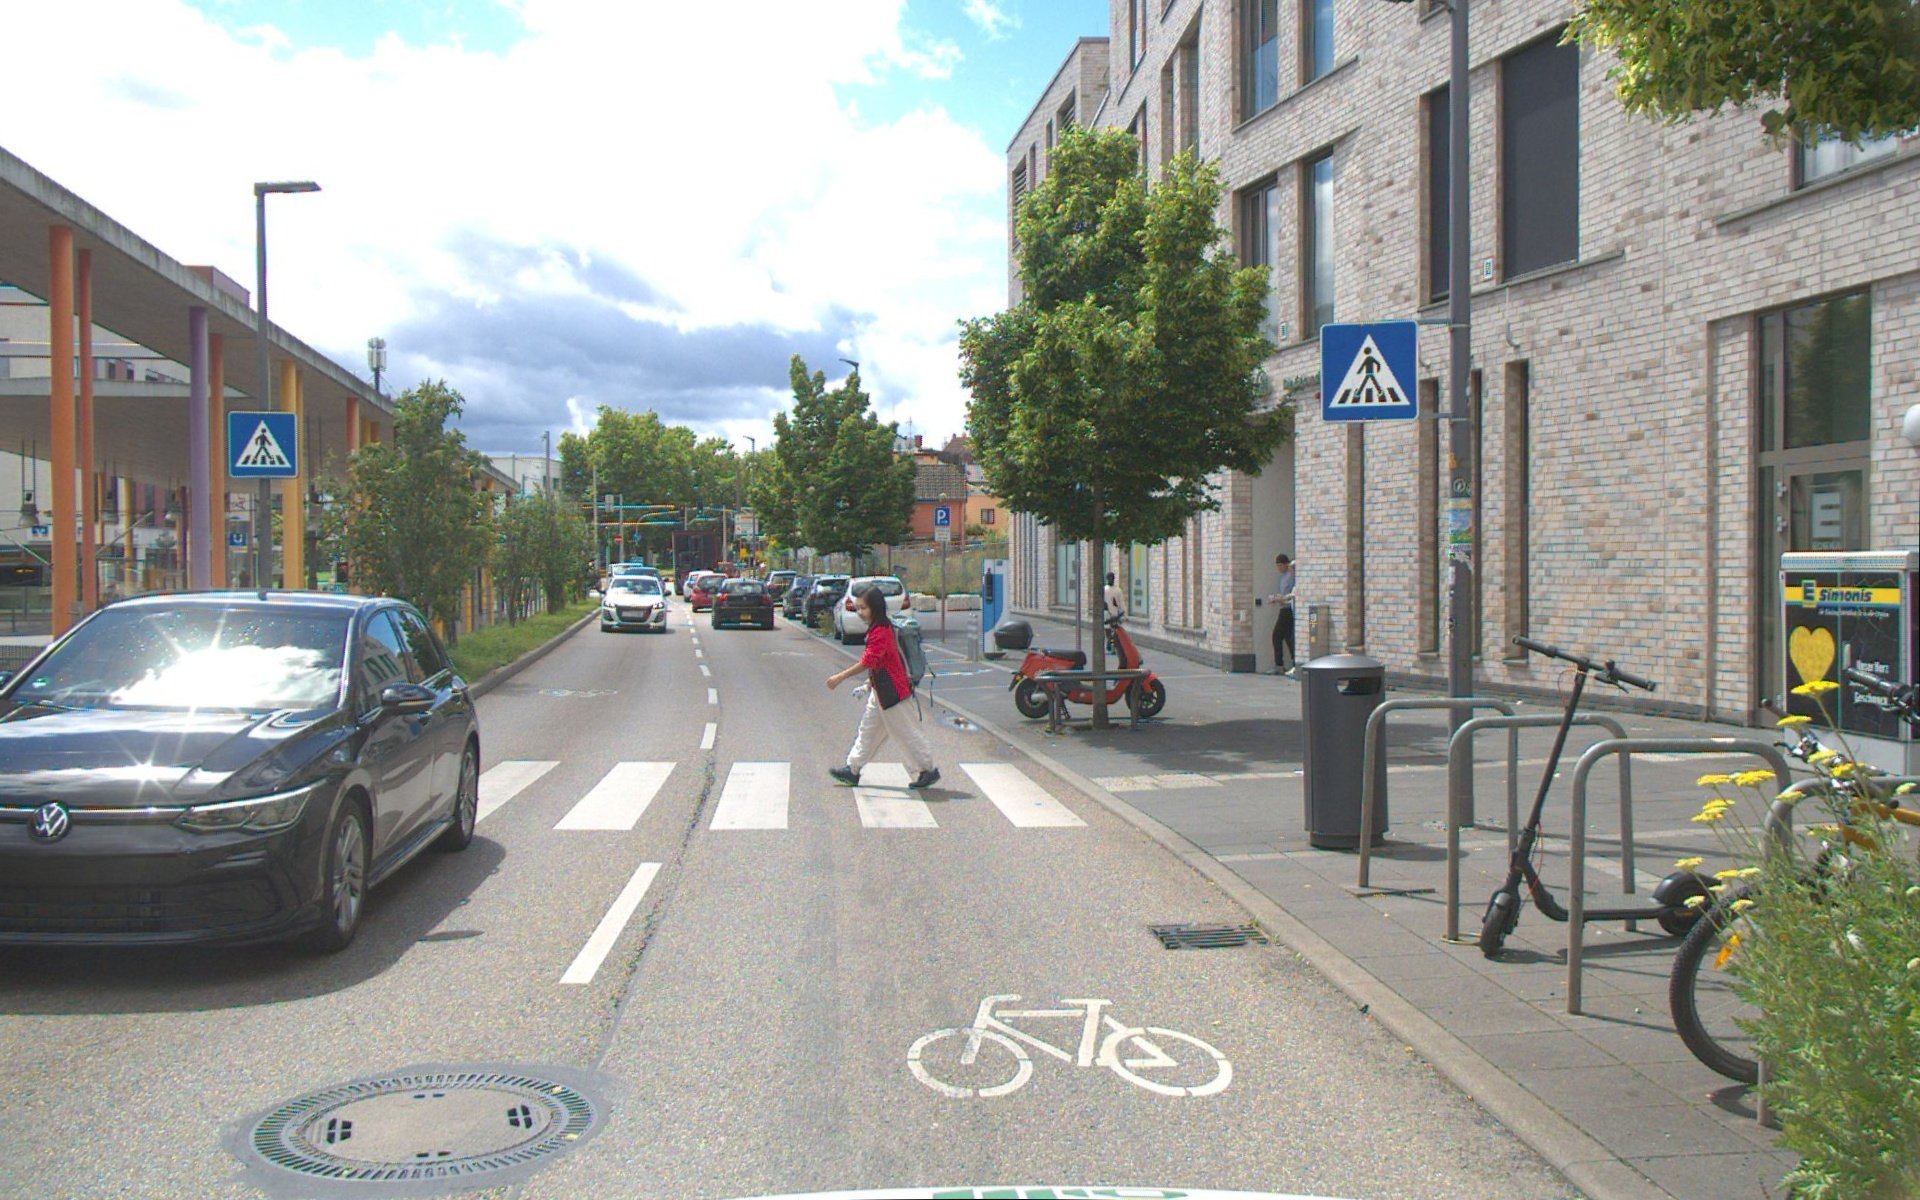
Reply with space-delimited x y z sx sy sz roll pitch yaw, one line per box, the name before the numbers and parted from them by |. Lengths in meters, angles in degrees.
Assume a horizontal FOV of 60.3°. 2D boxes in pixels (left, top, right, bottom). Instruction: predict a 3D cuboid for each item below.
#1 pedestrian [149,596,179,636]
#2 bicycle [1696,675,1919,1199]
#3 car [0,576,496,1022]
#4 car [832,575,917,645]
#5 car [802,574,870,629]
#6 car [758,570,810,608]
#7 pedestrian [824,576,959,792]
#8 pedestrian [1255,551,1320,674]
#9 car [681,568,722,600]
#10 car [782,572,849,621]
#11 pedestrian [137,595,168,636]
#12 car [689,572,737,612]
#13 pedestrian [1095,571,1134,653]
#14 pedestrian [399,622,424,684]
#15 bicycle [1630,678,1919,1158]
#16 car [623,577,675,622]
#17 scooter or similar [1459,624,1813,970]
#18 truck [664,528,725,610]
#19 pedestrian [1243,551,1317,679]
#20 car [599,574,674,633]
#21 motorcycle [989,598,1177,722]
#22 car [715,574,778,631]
pedestrian | -28.715 0.560 59.662 0.807 1.403 0.700 1 1 -9
bicycle | 2.755 0.791 3.785 1.786 1.222 0.756 -2 0 -3
car | -3.390 0.647 7.646 1.738 1.489 4.228 1 0 -7
car | -2.063 0.194 39.079 1.661 1.509 3.791 -2 1 -8
car | -3.674 0.012 48.420 1.661 1.486 4.139 -2 1 -8
car | -7.402 -0.480 69.278 1.750 1.477 4.464 -2 2 -11
pedestrian | -0.535 0.630 12.715 0.911 1.592 0.813 1 -1 -12
pedestrian | 4.876 0.186 24.630 0.723 1.797 0.621 -1 0 -16
car | -12.958 -0.789 82.790 1.854 1.491 4.058 -1 1 -11
car | -4.838 -0.150 54.822 1.831 1.476 4.633 -2 1 -9
pedestrian | -28.628 0.553 58.644 0.807 1.403 0.700 1 1 -9
car | -9.577 -0.335 63.888 1.681 1.417 3.799 -1 2 -11
pedestrian | 2.901 0.208 31.125 0.595 1.498 0.790 -2 1 -2
pedestrian | -16.788 1.617 50.671 0.575 1.862 0.708 1 -1 -8
bicycle | 2.931 0.814 4.627 1.786 1.151 0.756 -2 0 -3
car | -12.110 -0.043 64.253 1.885 1.633 4.614 1 1 -11
scooter or similar | 2.652 0.750 6.542 1.172 1.271 0.493 -2 0 -3
truck | -15.911 -1.746 98.656 3.147 4.615 9.001 1 0 -12
pedestrian | 4.588 0.208 23.747 0.723 1.797 0.752 -1 0 -24
car | -8.591 0.065 44.155 1.778 1.494 3.900 1 1 -9
motorcycle | 1.382 0.667 18.487 2.006 1.288 0.673 -2 0 8
car | -6.163 0.038 47.500 1.694 1.482 3.801 -1 2 -9
